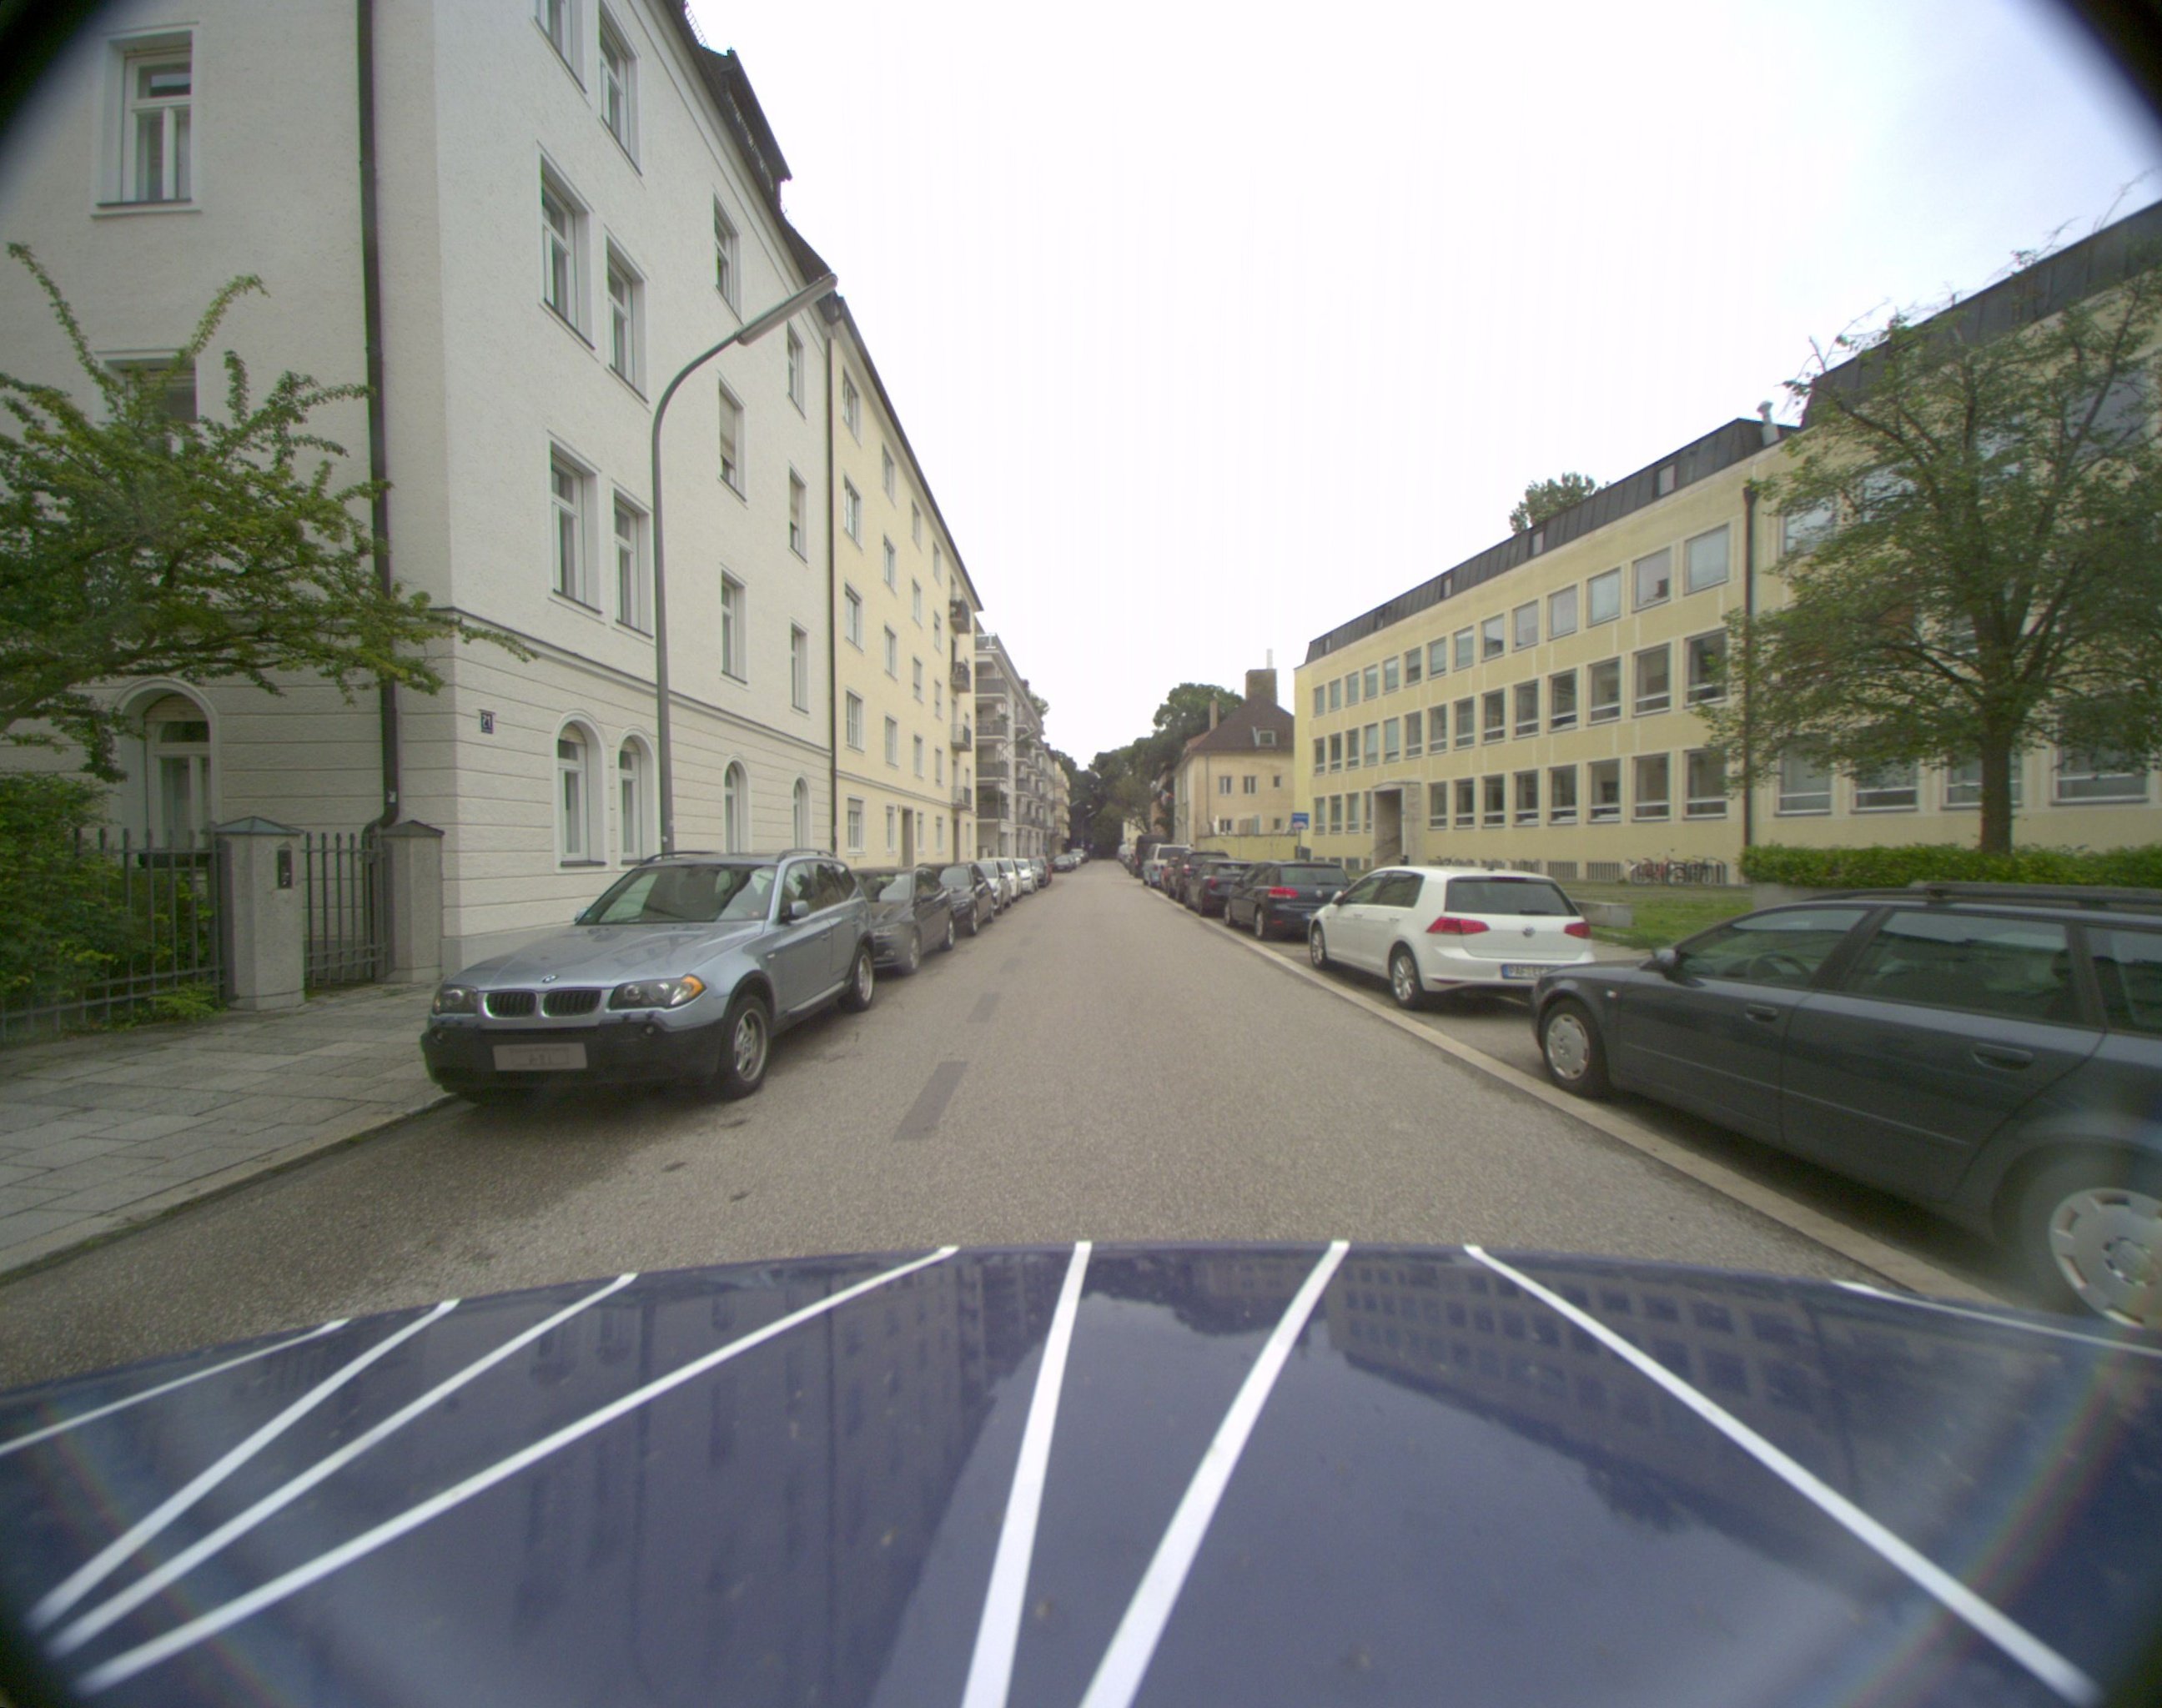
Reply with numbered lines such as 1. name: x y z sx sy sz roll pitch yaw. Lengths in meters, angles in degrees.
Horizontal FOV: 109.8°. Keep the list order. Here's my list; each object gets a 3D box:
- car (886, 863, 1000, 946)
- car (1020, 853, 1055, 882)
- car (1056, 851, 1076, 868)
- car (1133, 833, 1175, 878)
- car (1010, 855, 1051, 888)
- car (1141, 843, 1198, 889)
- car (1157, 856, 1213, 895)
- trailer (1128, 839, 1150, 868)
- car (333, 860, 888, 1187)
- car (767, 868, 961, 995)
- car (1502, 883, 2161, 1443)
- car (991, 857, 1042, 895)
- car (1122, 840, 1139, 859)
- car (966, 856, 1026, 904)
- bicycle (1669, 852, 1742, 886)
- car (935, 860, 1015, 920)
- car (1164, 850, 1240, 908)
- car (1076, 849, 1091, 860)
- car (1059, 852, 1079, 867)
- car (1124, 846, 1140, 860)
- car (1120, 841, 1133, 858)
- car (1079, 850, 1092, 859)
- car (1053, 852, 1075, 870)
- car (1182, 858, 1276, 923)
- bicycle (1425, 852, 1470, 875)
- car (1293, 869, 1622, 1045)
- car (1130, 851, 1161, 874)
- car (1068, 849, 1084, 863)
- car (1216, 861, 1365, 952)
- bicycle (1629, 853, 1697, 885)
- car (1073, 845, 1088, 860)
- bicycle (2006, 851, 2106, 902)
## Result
1. car: -2.830 0.979 16.470 1.683 1.419 4.390 -1 1 0
2. car: -2.353 0.735 42.304 1.683 1.489 3.823 -1 1 0
3. car: -1.383 0.511 70.495 1.766 1.449 3.417 -1 1 1
4. car: 4.550 0.054 48.127 2.302 2.630 5.654 1 1 3
5. car: -2.384 0.793 36.899 1.683 1.402 4.421 -1 1 0
6. car: 4.011 0.491 35.222 1.933 1.967 5.021 0 1 -1
7. car: 4.101 0.801 30.573 1.748 1.379 3.918 -1 0 1
8. trailer: 5.391 -0.107 70.014 1.817 2.521 3.390 3 1 6
9. car: -3.049 0.923 6.251 1.726 1.625 4.457 -1 1 1
10. car: -2.985 0.993 11.375 1.683 1.419 4.086 -1 1 1
11. car: 3.971 0.964 3.359 1.759 1.445 4.395 1 0 0
12. car: -2.614 0.860 31.573 1.683 1.402 4.442 -1 1 0
13. car: 6.700 -0.643 102.879 2.104 2.418 4.550 -1 1 4
14. car: -2.921 0.847 26.851 1.683 1.473 4.166 -1 1 0
15. bicycle: 19.664 0.463 23.941 1.953 1.008 0.625 -1 1 -9
16. car: -2.868 0.931 21.407 1.683 1.419 4.166 -1 1 0
17. car: 3.880 0.755 25.088 1.748 1.656 4.448 3 1 0
18. car: 0.358 0.011 107.885 1.871 1.455 4.268 -1 1 3
19. car: -1.156 0.542 75.156 1.766 1.449 3.747 -1 1 1
20. car: 6.250 -0.134 92.556 1.817 1.724 3.649 -1 1 2
21. car: 7.165 -0.761 119.220 1.880 2.539 4.370 -1 1 3
22. car: 0.752 0.065 118.028 1.871 1.455 4.268 -1 1 3
23. car: -1.501 0.594 65.642 1.784 1.386 4.245 -1 1 -2
24. car: 3.745 0.870 19.863 1.684 1.445 3.869 1 0 0
25. bicycle: 16.827 0.425 34.905 1.954 1.008 0.580 -2 1 -16
26. car: 3.937 0.969 8.822 1.661 1.445 4.072 1 0 -2
27. car: 4.509 0.588 53.503 1.706 1.485 3.488 -1 1 -3
28. car: -0.519 0.227 87.041 1.766 1.449 3.747 -1 1 1
29. car: 3.869 0.904 14.729 1.661 1.445 3.973 1 0 -2
30. bicycle: 19.417 0.489 25.356 1.953 1.008 0.625 -1 1 -9
31. car: -0.021 -0.239 102.255 1.871 2.002 4.268 -1 1 3
32. bicycle: 20.941 0.466 16.317 1.954 1.008 0.624 -1 1 -16
